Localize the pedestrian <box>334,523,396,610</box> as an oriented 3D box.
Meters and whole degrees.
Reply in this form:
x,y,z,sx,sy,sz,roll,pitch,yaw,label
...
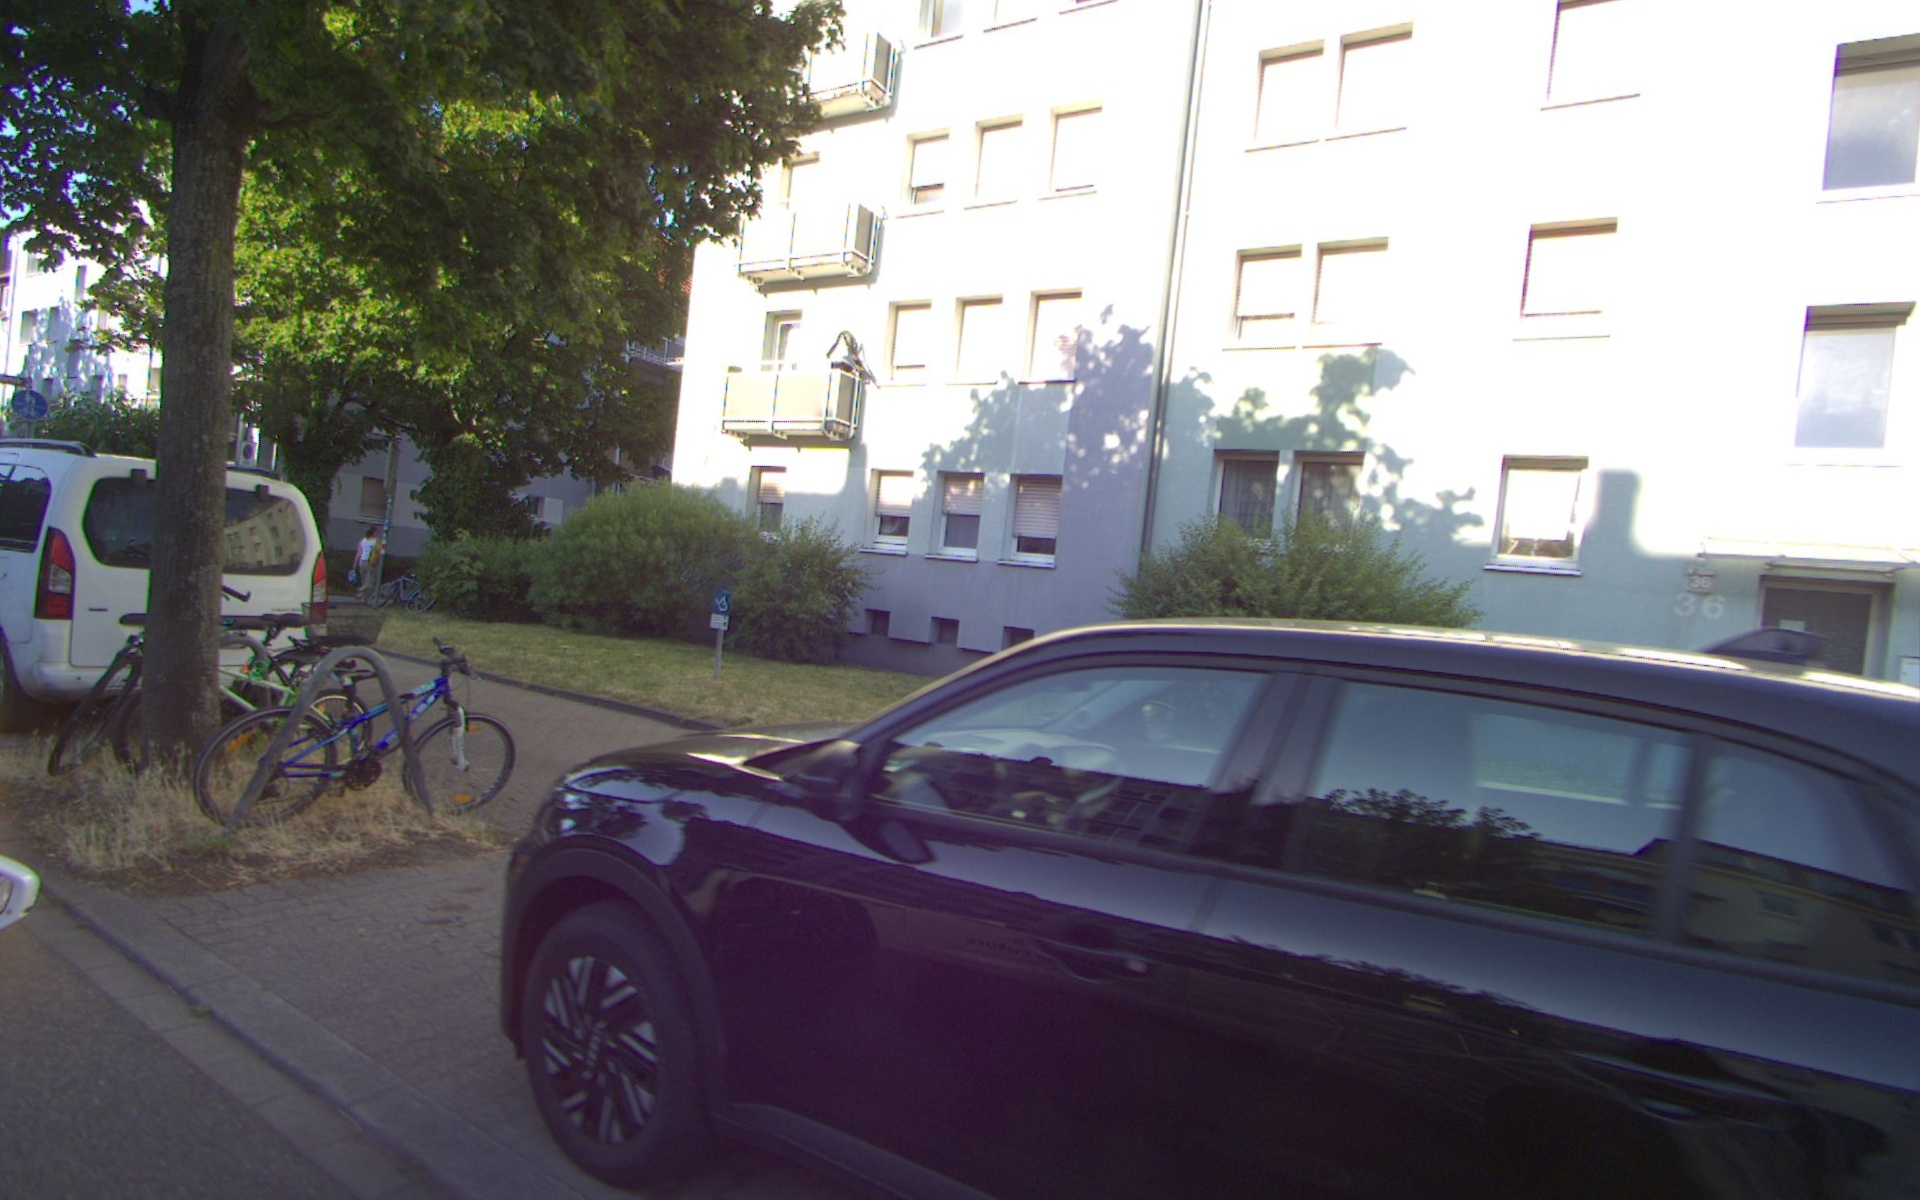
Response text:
x,y,z,sx,sy,sz,roll,pitch,yaw,label
-12.635,-0.706,21.385,0.787,1.744,0.742,6,2,-9,pedestrian

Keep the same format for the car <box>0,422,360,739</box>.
x,y,z,sx,sy,sz,roll,pitch,yaw,label
-6.806,-0.250,7.667,4.349,1.830,1.804,7,-1,30,car

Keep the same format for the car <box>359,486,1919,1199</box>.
x,y,z,sx,sy,sz,roll,pitch,yaw,label
0.480,0.739,2.552,4.184,1.684,1.754,7,2,34,car

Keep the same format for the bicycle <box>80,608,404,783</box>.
x,y,z,sx,sy,sz,roll,pitch,yaw,label
-4.218,0.536,6.051,0.386,0.880,1.556,7,0,23,bicycle

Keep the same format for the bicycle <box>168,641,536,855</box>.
x,y,z,sx,sy,sz,roll,pitch,yaw,label
-2.974,0.680,5.093,0.386,0.880,1.554,7,1,29,bicycle

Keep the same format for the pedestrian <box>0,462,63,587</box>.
x,y,z,sx,sy,sz,roll,pitch,yaw,label
-15.121,-1.215,16.128,1.050,1.885,0.749,7,2,31,pedestrian

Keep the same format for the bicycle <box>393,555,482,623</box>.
x,y,z,sx,sy,sz,roll,pitch,yaw,label
-8.693,-0.192,16.710,1.652,0.957,0.475,7,2,32,bicycle

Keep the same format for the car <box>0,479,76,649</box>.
x,y,z,sx,sy,sz,roll,pitch,yaw,label
-10.843,-0.548,10.025,4.180,1.577,1.755,7,2,30,car
